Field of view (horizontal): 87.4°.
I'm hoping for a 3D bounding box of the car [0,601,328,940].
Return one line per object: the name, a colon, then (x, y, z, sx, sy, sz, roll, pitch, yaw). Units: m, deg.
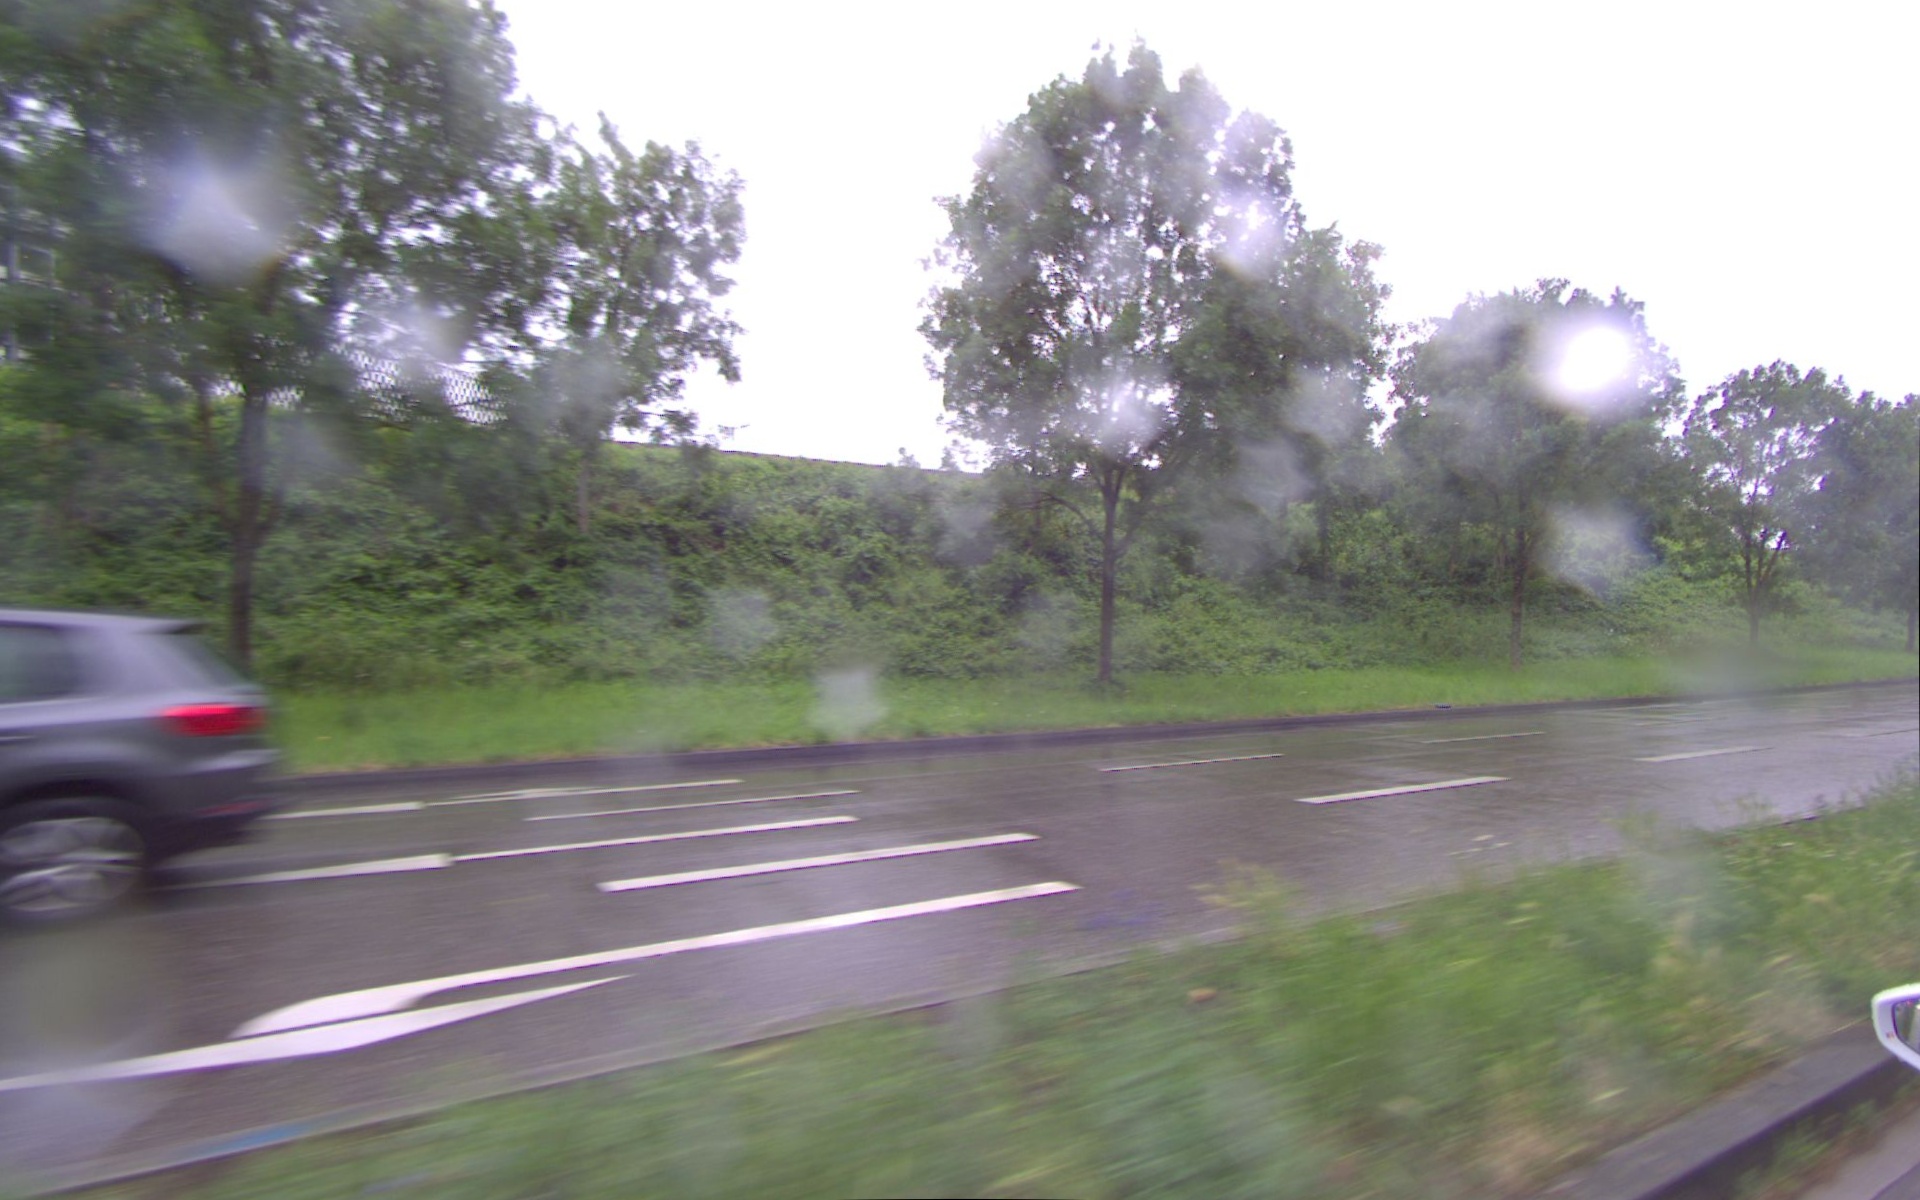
car: (-5.816, 0.860, 5.290, 4.062, 1.634, 1.891, 1, -4, -29)
